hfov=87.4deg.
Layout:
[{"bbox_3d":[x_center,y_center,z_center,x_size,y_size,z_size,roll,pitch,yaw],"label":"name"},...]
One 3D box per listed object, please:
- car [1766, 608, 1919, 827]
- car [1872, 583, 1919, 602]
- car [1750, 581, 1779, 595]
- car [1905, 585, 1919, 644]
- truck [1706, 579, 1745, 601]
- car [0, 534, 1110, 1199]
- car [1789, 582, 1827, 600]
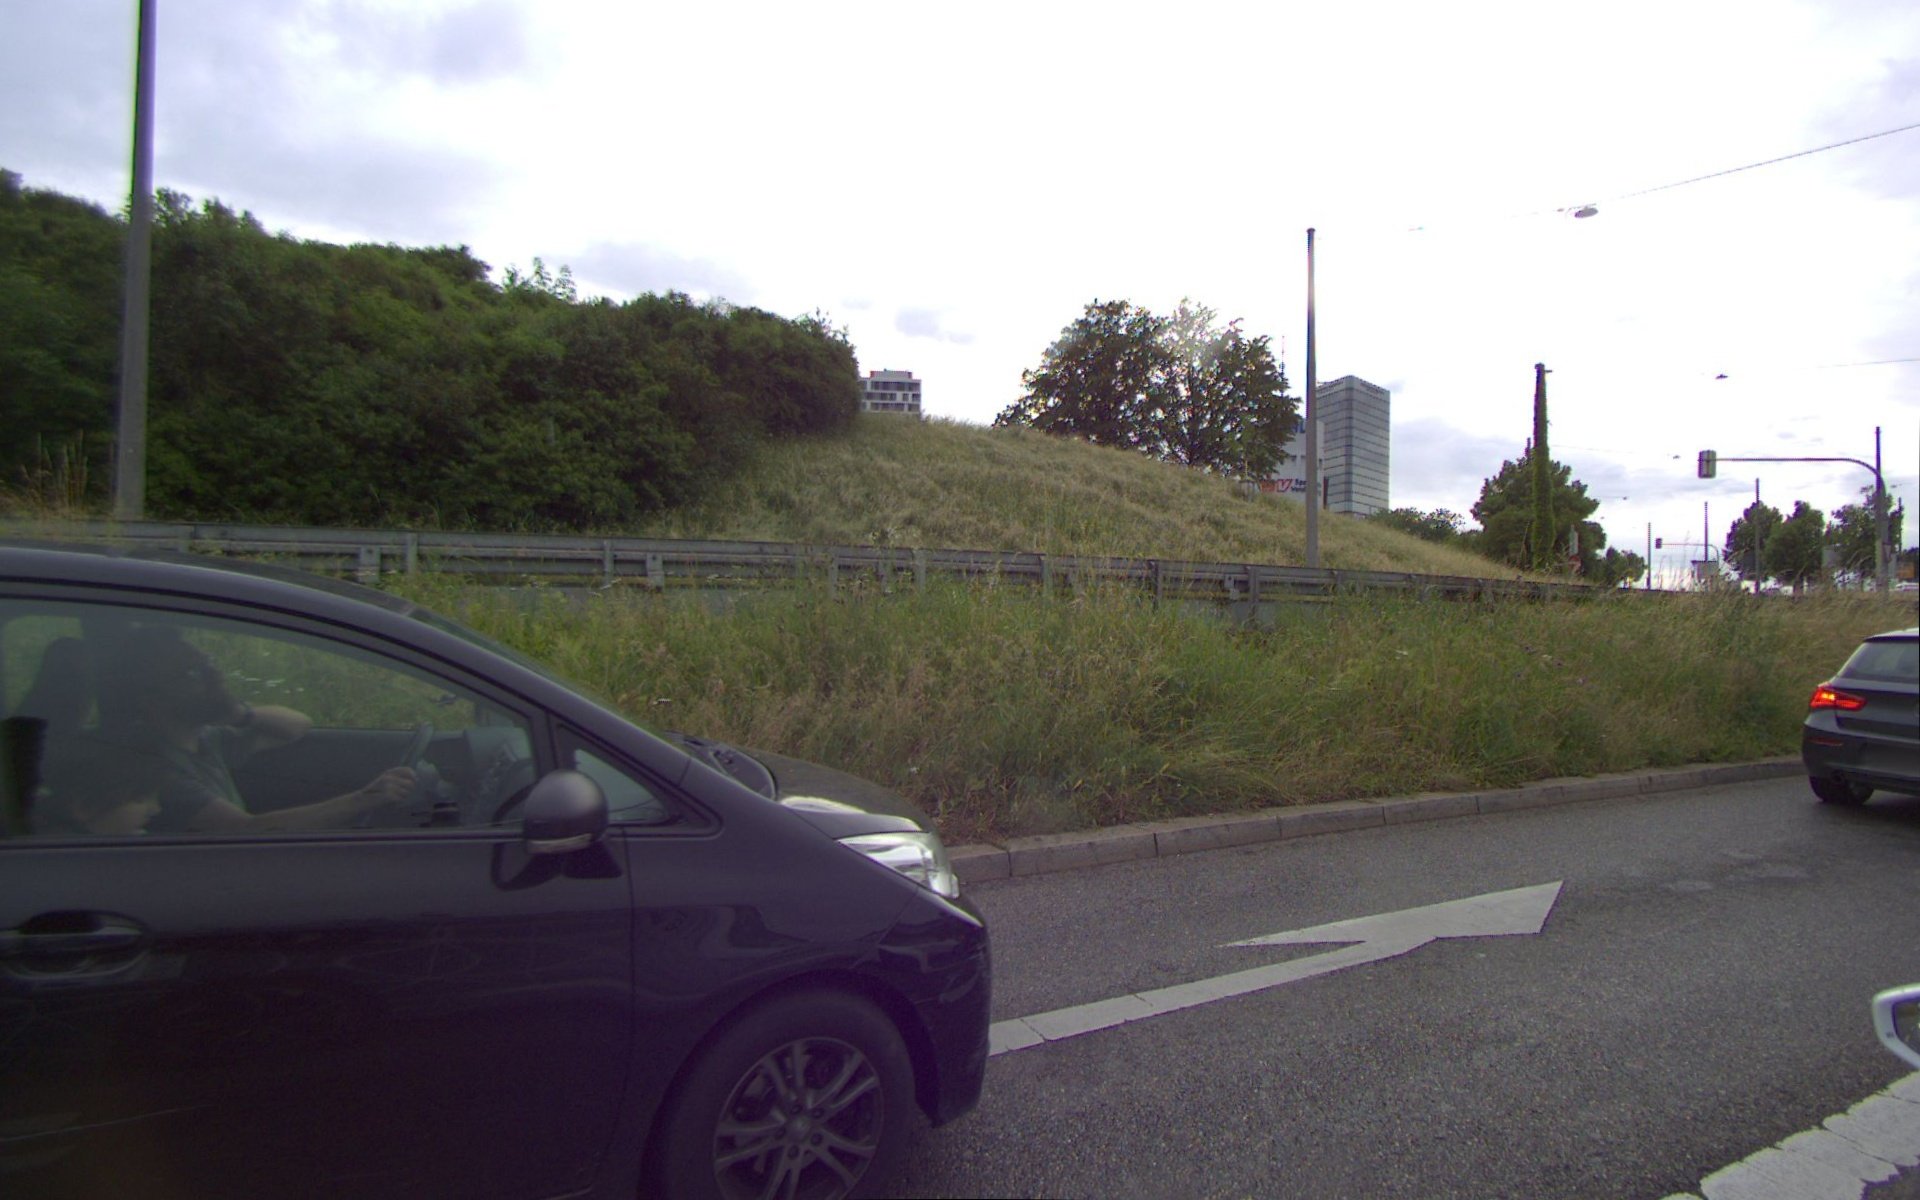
[{"bbox_3d":[8.321,0.828,7.721,4.058,1.479,1.698,1,-1,-25],"label":"car"},{"bbox_3d":[81.392,-0.607,87.264,1.962,1.497,4.417,2,-1,25],"label":"car"},{"bbox_3d":[105.138,-1.548,131.313,1.962,1.681,4.541,2,-1,25],"label":"car"},{"bbox_3d":[28.672,0.474,26.905,4.437,1.642,1.999,2,0,23],"label":"car"},{"bbox_3d":[116.825,-1.609,153.412,3.206,3.116,6.171,4,3,23],"label":"truck"},{"bbox_3d":[-1.648,0.633,2.356,3.734,1.525,1.634,1,2,-30],"label":"car"},{"bbox_3d":[94.015,-1.015,111.380,2.096,1.818,4.736,2,-1,26],"label":"car"}]
